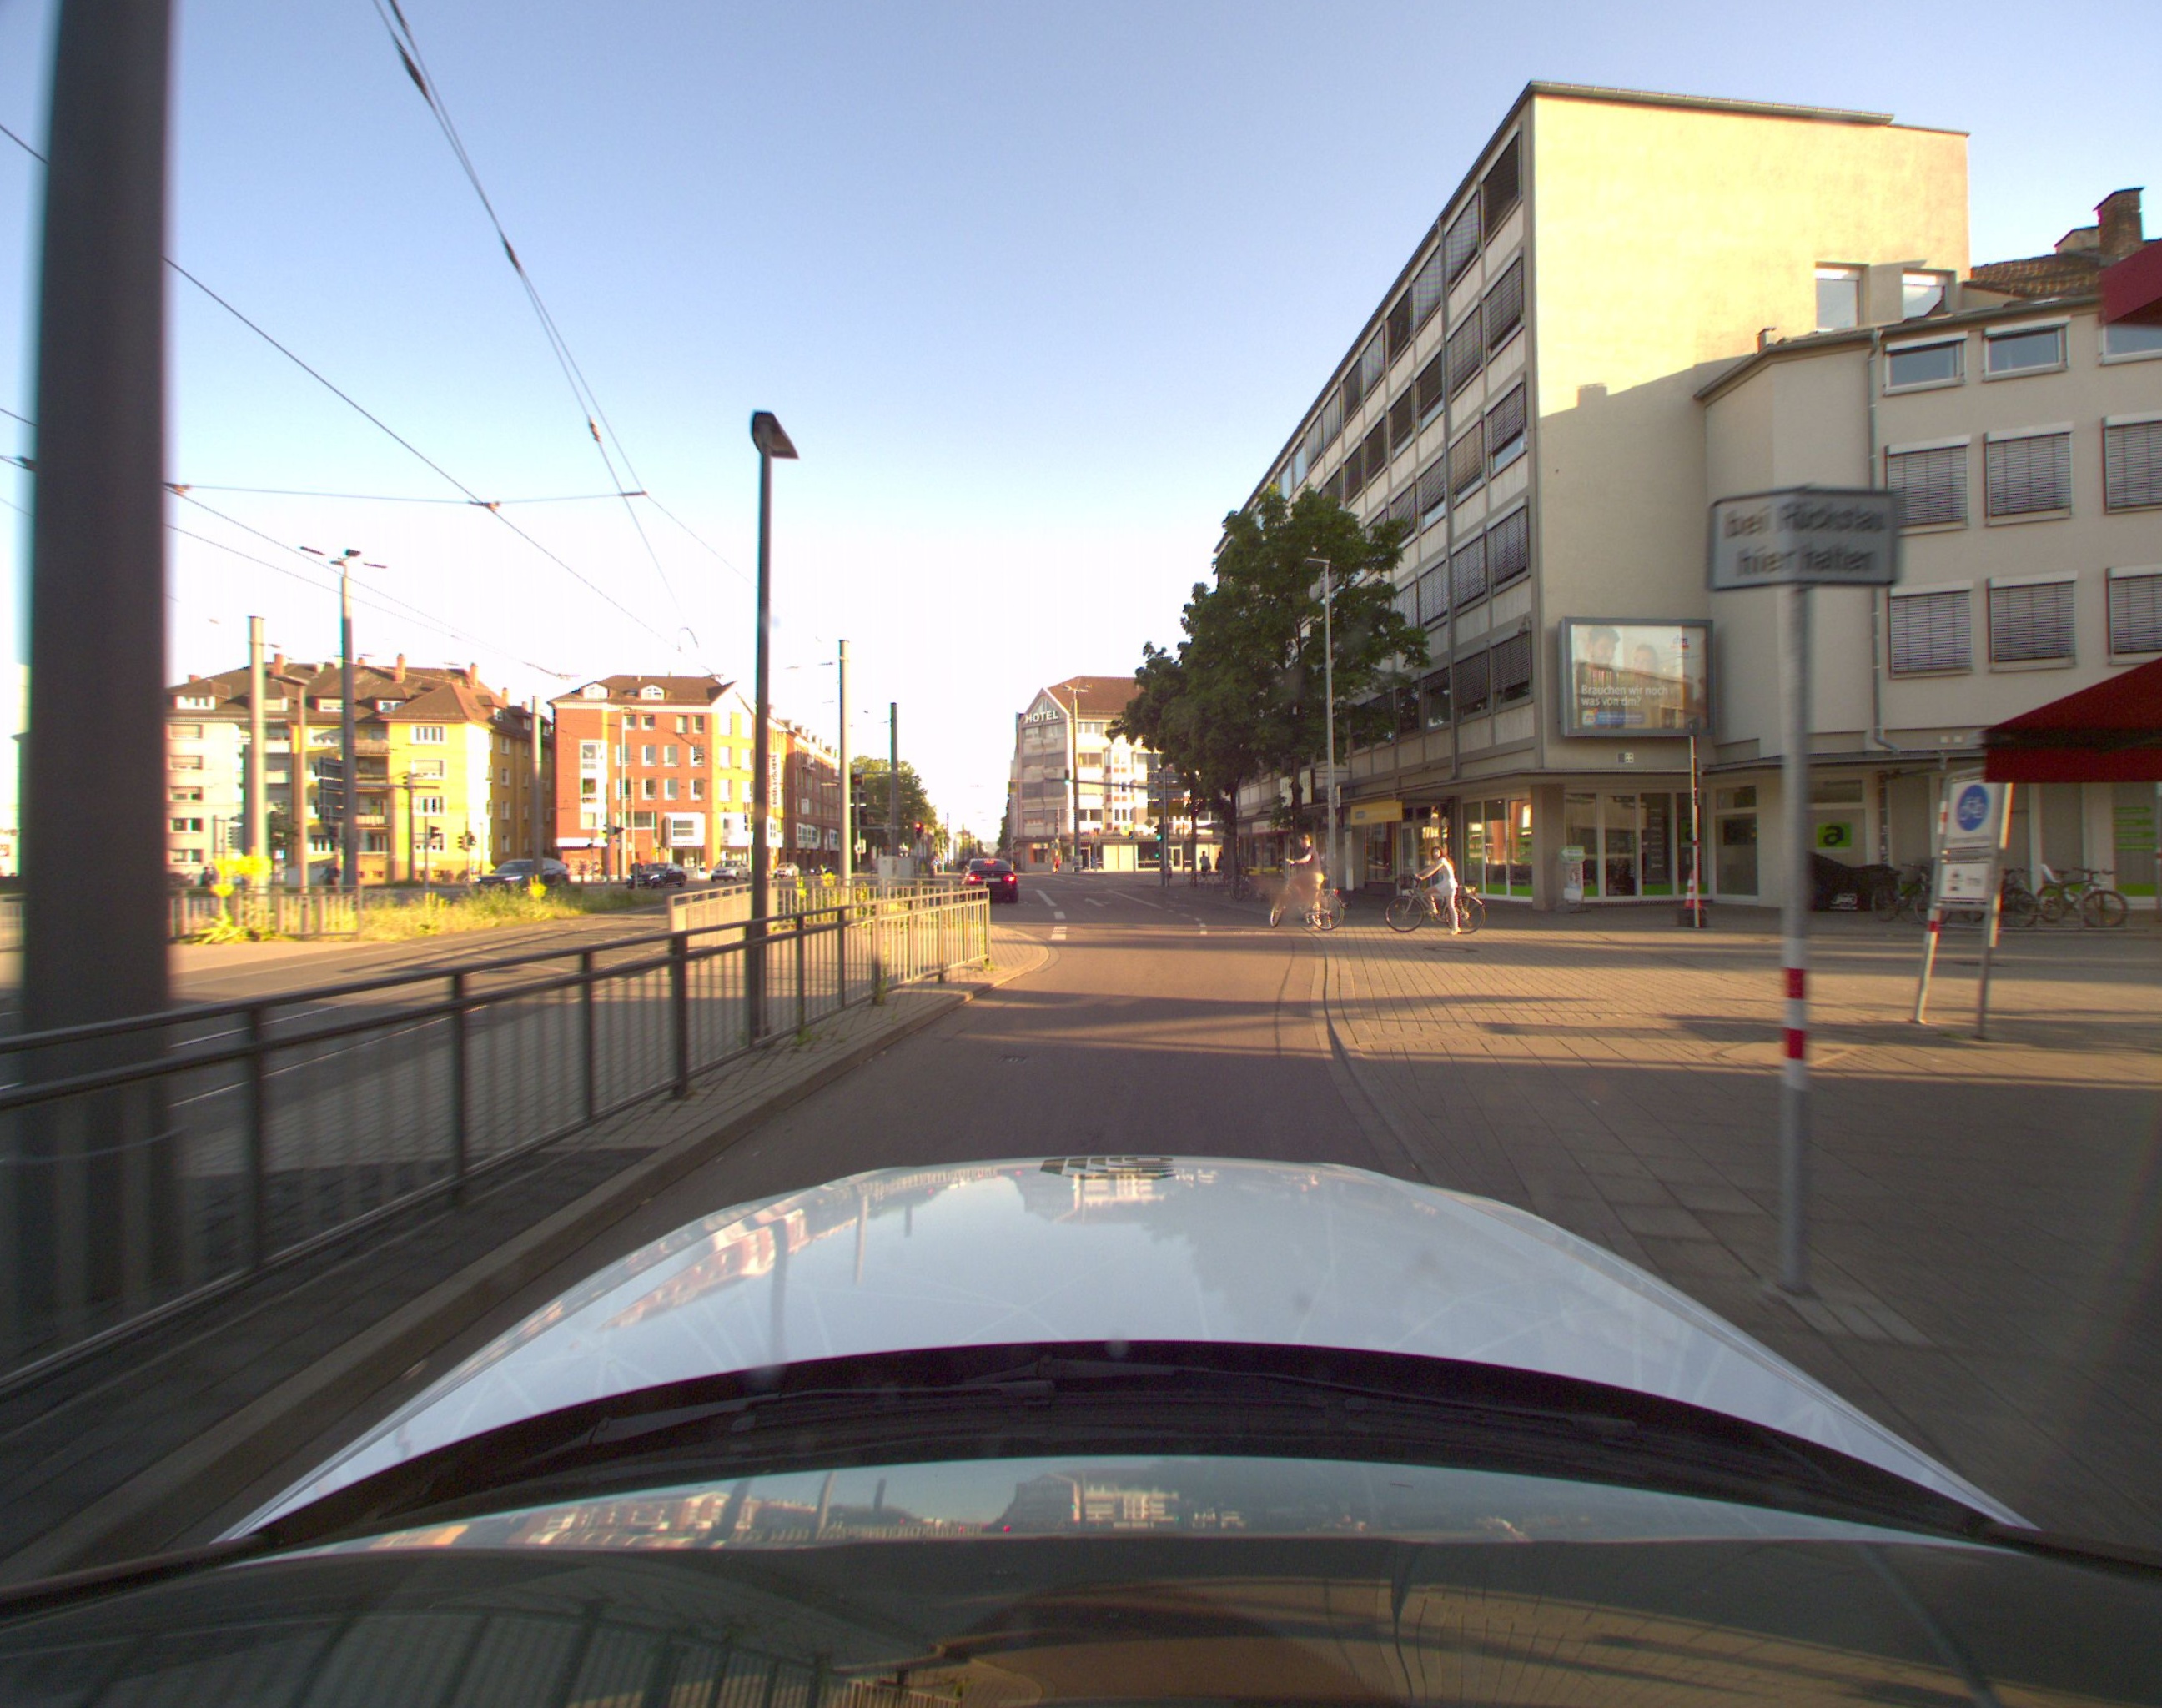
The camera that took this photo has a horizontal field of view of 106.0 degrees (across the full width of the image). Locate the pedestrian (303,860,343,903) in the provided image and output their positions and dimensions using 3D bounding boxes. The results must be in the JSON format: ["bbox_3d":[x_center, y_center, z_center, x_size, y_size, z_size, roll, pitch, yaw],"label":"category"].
[{"bbox_3d":[-35.390,1.257,38.048,1.102,1.944,1.016,-1,0,-25],"label":"pedestrian"}]

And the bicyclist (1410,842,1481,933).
[{"bbox_3d":[6.760,0.621,15.164,1.102,1.623,0.844,-1,-2,18],"label":"bicyclist"}]

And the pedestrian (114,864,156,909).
[{"bbox_3d":[-40.886,1.384,35.207,0.845,1.910,0.890,-1,-1,-17],"label":"pedestrian"}]

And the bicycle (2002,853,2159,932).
[{"bbox_3d":[17.784,0.641,14.578,0.696,1.220,2.123,-1,2,17],"label":"bicycle"}]

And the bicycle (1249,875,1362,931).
[{"bbox_3d":[4.495,0.959,16.411,0.845,1.020,2.052,-1,0,-43],"label":"bicycle"}]

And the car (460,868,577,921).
[{"bbox_3d":[-22.804,1.562,33.286,1.993,1.901,4.797,-1,0,-8],"label":"car"}]

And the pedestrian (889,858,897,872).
[{"bbox_3d":[-27.265,1.589,118.234,0.987,2.014,0.724,1,-1,-8],"label":"pedestrian"}]

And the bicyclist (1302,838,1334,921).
[{"bbox_3d":[5.377,0.570,18.501,0.465,1.830,0.556,-1,0,-14],"label":"bicyclist"}]

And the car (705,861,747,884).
[{"bbox_3d":[-25.588,1.309,58.837,1.995,1.585,4.096,-1,0,-12],"label":"car"}]

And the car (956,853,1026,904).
[{"bbox_3d":[-3.191,0.780,28.132,1.995,1.585,3.983,-1,0,-12],"label":"car"}]

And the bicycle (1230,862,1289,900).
[{"bbox_3d":[6.112,0.927,27.969,1.895,1.235,0.669,-1,0,5],"label":"bicycle"}]

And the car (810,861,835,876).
[{"bbox_3d":[-29.812,1.669,93.957,1.992,1.585,4.466,-1,0,-8],"label":"car"}]

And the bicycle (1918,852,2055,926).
[{"bbox_3d":[16.615,0.596,15.029,0.696,1.220,2.122,-1,1,17],"label":"bicycle"}]

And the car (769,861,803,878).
[{"bbox_3d":[-27.903,1.447,77.095,1.664,1.448,4.200,-1,0,-1],"label":"car"}]

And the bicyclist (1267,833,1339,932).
[{"bbox_3d":[4.479,0.549,16.434,0.845,1.917,1.101,-1,0,-43],"label":"bicyclist"}]

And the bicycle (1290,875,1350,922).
[{"bbox_3d":[5.397,0.976,18.515,0.465,0.970,1.792,-1,0,-14],"label":"bicycle"}]

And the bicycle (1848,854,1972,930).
[{"bbox_3d":[15.571,0.675,15.388,0.696,1.220,2.123,-1,3,17],"label":"bicycle"}]

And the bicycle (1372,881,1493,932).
[{"bbox_3d":[6.520,0.971,15.239,1.990,0.881,0.844,-1,-1,17],"label":"bicycle"}]

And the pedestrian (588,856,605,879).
[{"bbox_3d":[-39.024,1.085,65.665,0.941,1.868,0.834,1,-1,-15],"label":"pedestrian"}]

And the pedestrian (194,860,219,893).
[{"bbox_3d":[-51.931,1.325,48.345,0.722,1.868,0.878,-1,0,-26],"label":"pedestrian"}]

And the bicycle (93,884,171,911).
[{"bbox_3d":[-40.903,1.877,35.143,2.008,1.060,0.890,-1,0,-17],"label":"bicycle"}]

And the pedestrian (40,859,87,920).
[{"bbox_3d":[-32.574,1.123,26.081,0.964,1.868,0.891,-2,-1,41],"label":"pedestrian"}]

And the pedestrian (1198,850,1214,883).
[{"bbox_3d":[6.419,0.657,41.960,0.683,1.667,0.670,-1,-1,-3],"label":"pedestrian"}]

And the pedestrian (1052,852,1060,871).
[{"bbox_3d":[-2.424,0.731,78.603,0.684,1.854,0.669,-1,-1,-10],"label":"pedestrian"}]

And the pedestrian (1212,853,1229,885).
[{"bbox_3d":[7.234,0.775,42.367,0.721,1.667,0.670,-1,-1,-3],"label":"pedestrian"}]

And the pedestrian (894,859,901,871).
[{"bbox_3d":[-27.742,1.659,123.049,0.987,1.681,0.724,-1,-1,-8],"label":"pedestrian"}]

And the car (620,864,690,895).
[{"bbox_3d":[-23.478,1.358,45.067,1.992,1.585,4.574,-1,0,-8],"label":"car"}]

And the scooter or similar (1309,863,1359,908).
[{"bbox_3d":[7.040,0.865,22.656,1.261,1.235,0.340,-1,0,36],"label":"scooter or similar"}]

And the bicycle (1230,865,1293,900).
[{"bbox_3d":[5.967,0.941,26.996,1.986,1.110,0.669,-1,0,6],"label":"bicycle"}]
